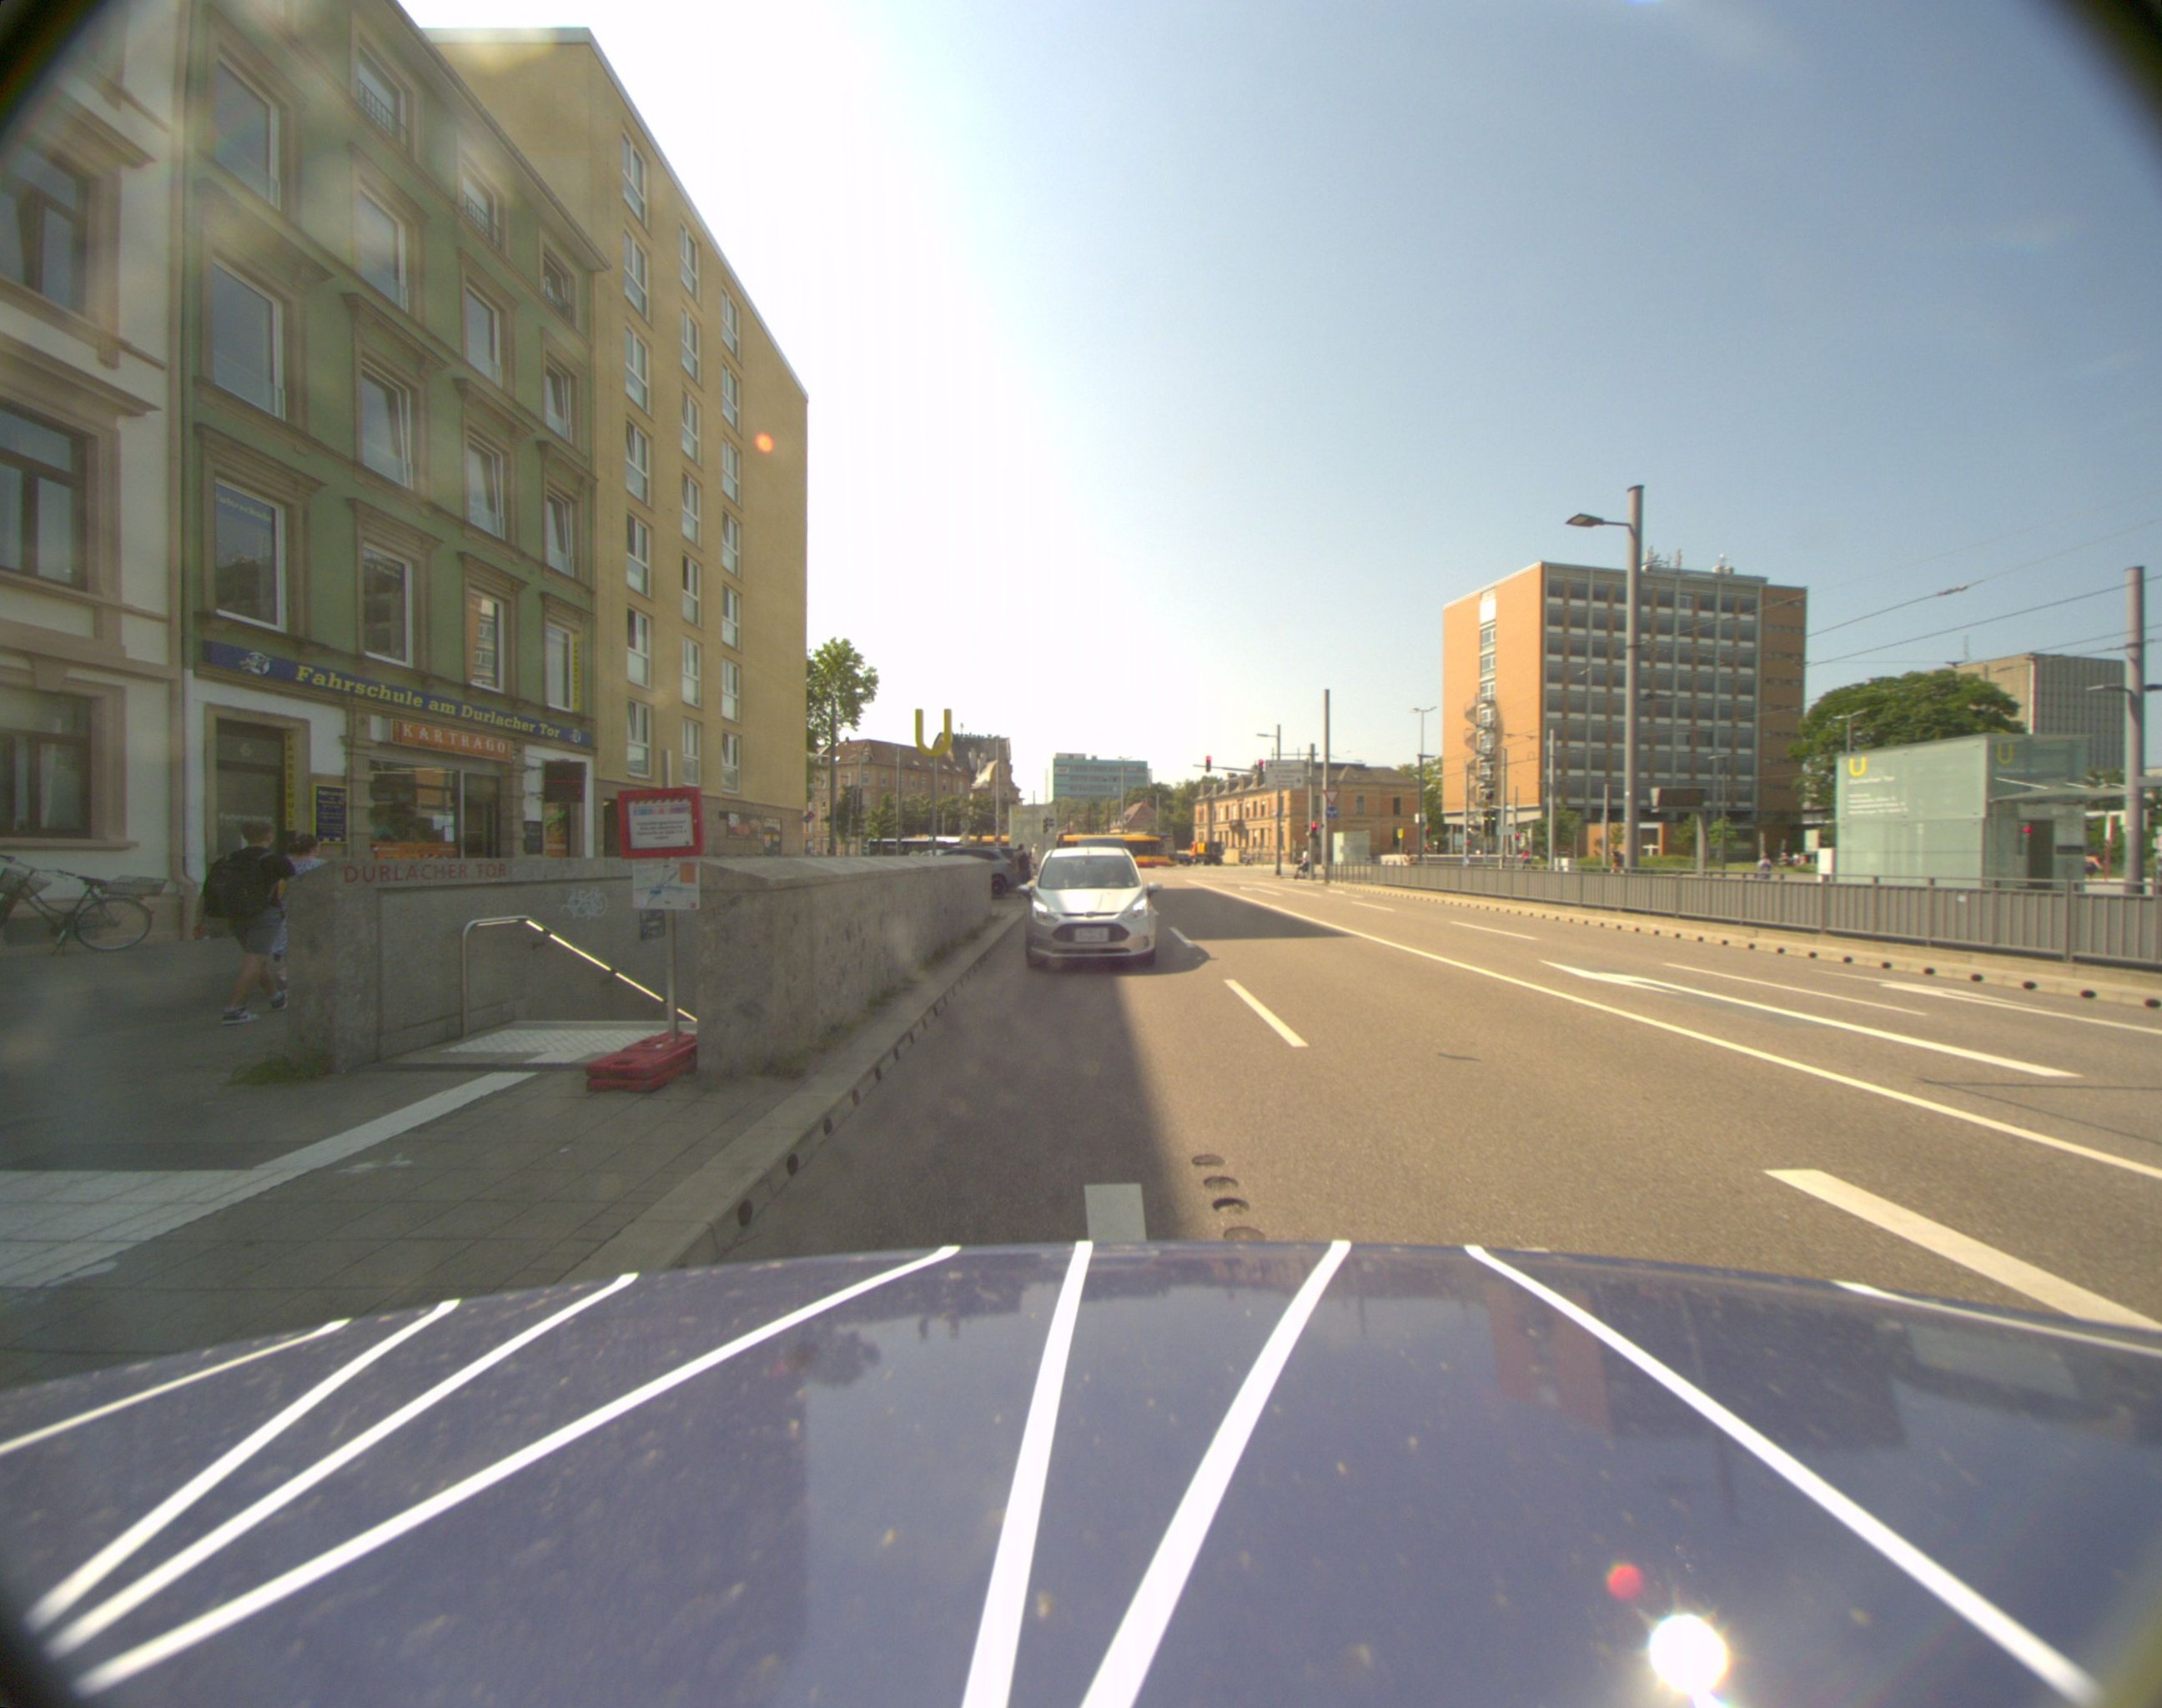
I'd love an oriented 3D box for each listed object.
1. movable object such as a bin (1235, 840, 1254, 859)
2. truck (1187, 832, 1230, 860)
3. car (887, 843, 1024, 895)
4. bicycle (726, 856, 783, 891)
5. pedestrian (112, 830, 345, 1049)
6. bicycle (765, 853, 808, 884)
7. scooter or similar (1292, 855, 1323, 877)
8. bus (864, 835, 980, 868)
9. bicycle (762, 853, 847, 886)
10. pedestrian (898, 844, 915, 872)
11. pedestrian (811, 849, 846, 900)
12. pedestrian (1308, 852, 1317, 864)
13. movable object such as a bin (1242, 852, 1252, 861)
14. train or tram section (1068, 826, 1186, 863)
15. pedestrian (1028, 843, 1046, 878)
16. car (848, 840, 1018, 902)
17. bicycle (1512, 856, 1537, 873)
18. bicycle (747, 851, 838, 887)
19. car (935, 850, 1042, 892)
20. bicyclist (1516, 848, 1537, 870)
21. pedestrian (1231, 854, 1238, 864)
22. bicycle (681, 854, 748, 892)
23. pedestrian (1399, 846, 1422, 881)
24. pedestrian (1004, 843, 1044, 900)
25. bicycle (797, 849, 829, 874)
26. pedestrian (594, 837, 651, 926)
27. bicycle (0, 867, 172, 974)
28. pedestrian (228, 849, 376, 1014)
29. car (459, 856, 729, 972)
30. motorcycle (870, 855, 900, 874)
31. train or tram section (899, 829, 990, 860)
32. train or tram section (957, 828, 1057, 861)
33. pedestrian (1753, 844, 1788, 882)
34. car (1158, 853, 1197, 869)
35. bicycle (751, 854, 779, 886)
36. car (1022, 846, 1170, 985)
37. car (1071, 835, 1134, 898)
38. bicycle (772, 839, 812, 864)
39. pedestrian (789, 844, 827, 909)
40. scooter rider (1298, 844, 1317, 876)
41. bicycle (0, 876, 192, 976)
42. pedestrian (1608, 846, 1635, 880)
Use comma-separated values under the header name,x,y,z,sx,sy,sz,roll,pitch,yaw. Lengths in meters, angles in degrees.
name,x,y,z,sx,sy,sz,roll,pitch,yaw
movable object such as a bin,23.593,-0.592,109.847,1.817,2.656,4.455,0,0,0
truck,16.246,-0.961,97.477,3.043,3.209,7.184,0,-2,-13
car,-4.370,0.474,26.869,4.401,1.678,1.981,0,1,-41
bicycle,-12.157,0.693,28.413,0.941,1.231,2.423,0,0,4
pedestrian,-7.268,0.687,6.541,0.851,1.718,0.972,1,-1,7
bicycle,-11.924,0.570,30.808,0.590,1.231,1.548,1,1,33
scooter or similar,11.723,0.625,39.351,1.341,1.142,0.709,0,1,1
bus,-15.489,-0.222,73.397,12.048,3.046,2.740,0,0,29
bicycle,-12.030,0.645,33.110,3.370,1.396,0.901,0,1,-36
pedestrian,-10.098,0.228,43.914,0.793,1.600,0.949,1,1,-2
pedestrian,-8.035,0.633,24.176,0.854,1.573,0.968,-1,2,-33
pedestrian,27.376,0.461,89.871,0.847,1.386,0.787,0,1,3
movable object such as a bin,21.157,0.338,96.856,1.035,1.078,0.822,-1,-1,42
train or tram section,4.529,-0.975,77.323,12.182,3.540,2.601,1,1,33
pedestrian,-2.270,0.316,39.407,0.821,1.797,0.814,-1,1,1
car,-4.434,0.449,23.197,4.675,1.704,2.038,0,1,-41
bicycle,29.333,0.670,50.249,0.614,1.063,1.913,0,1,4
bicycle,-11.732,0.591,31.008,3.370,1.396,0.901,0,1,-36
car,-3.662,0.665,30.383,3.792,1.491,1.802,-2,0,-40
bicyclist,29.344,0.303,50.060,0.877,1.451,0.980,0,1,4
pedestrian,19.790,0.661,97.928,0.815,1.343,0.720,0,1,8
bicycle,-12.262,0.603,25.523,0.941,1.231,2.423,0,0,4
pedestrian,15.471,0.458,35.699,0.574,1.649,0.800,0,-1,-18
pedestrian,-1.796,0.545,23.979,0.870,1.741,0.871,-2,-1,-33
bicycle,-13.965,0.376,39.685,0.794,1.231,2.434,0,1,0
pedestrian,-8.474,0.469,14.037,0.854,1.573,0.968,-1,2,-33
bicycle,-12.630,0.778,9.424,0.459,1.177,1.847,0,1,1
pedestrian,-8.043,0.743,7.906,0.854,1.573,0.968,-1,2,-33
car,-6.859,0.756,11.202,1.635,1.432,3.620,0,0,1
motorcycle,-12.106,0.626,47.085,0.911,1.130,2.114,0,1,13
train or tram section,-16.489,-1.139,90.889,12.182,3.540,2.601,1,1,33
train or tram section,-8.516,-1.063,85.781,12.182,3.540,2.601,1,1,33
pedestrian,33.032,0.433,36.397,0.785,1.770,0.959,0,2,3
car,11.029,0.827,86.717,3.991,1.783,2.003,0,-1,20
bicycle,-12.634,0.630,30.454,0.409,1.231,1.827,0,0,-2
car,0.185,0.683,10.853,1.692,1.586,4.360,0,1,0
car,0.771,0.352,25.655,1.899,1.919,4.886,1,1,3
bicycle,-13.804,-0.123,36.314,1.727,1.200,0.589,0,1,-6
pedestrian,-7.255,0.579,20.226,0.672,1.675,0.943,1,1,1
scooter rider,11.737,0.308,39.345,0.773,1.663,0.779,0,1,2
bicycle,-12.555,0.837,9.236,0.481,1.139,2.472,0,-1,3
pedestrian,29.435,0.481,41.414,0.785,1.770,0.959,0,2,3
